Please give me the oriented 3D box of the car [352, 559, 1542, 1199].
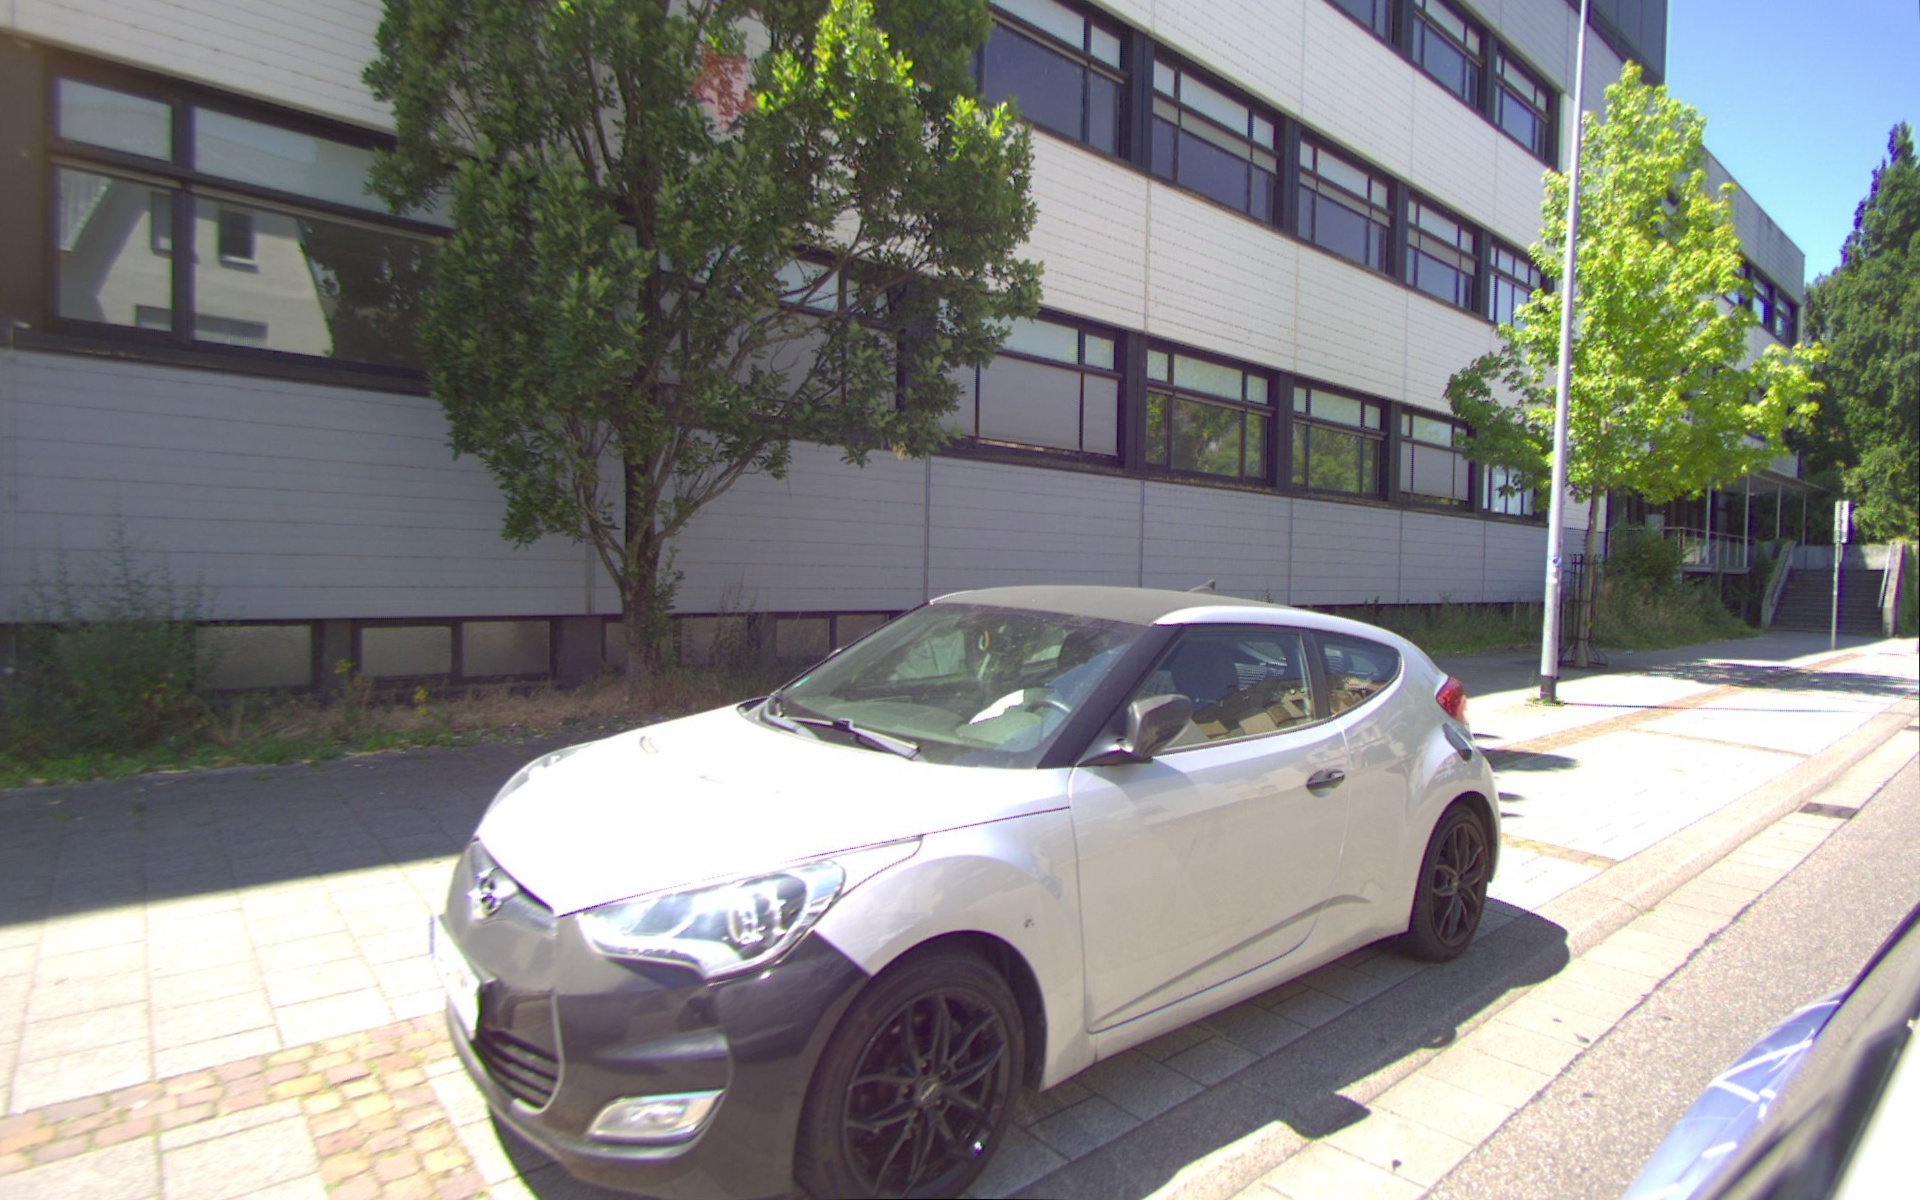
[{"bbox_3d":[0.254,0.608,3.597,3.928,1.382,1.842,0,3,-39],"label":"car"}]
